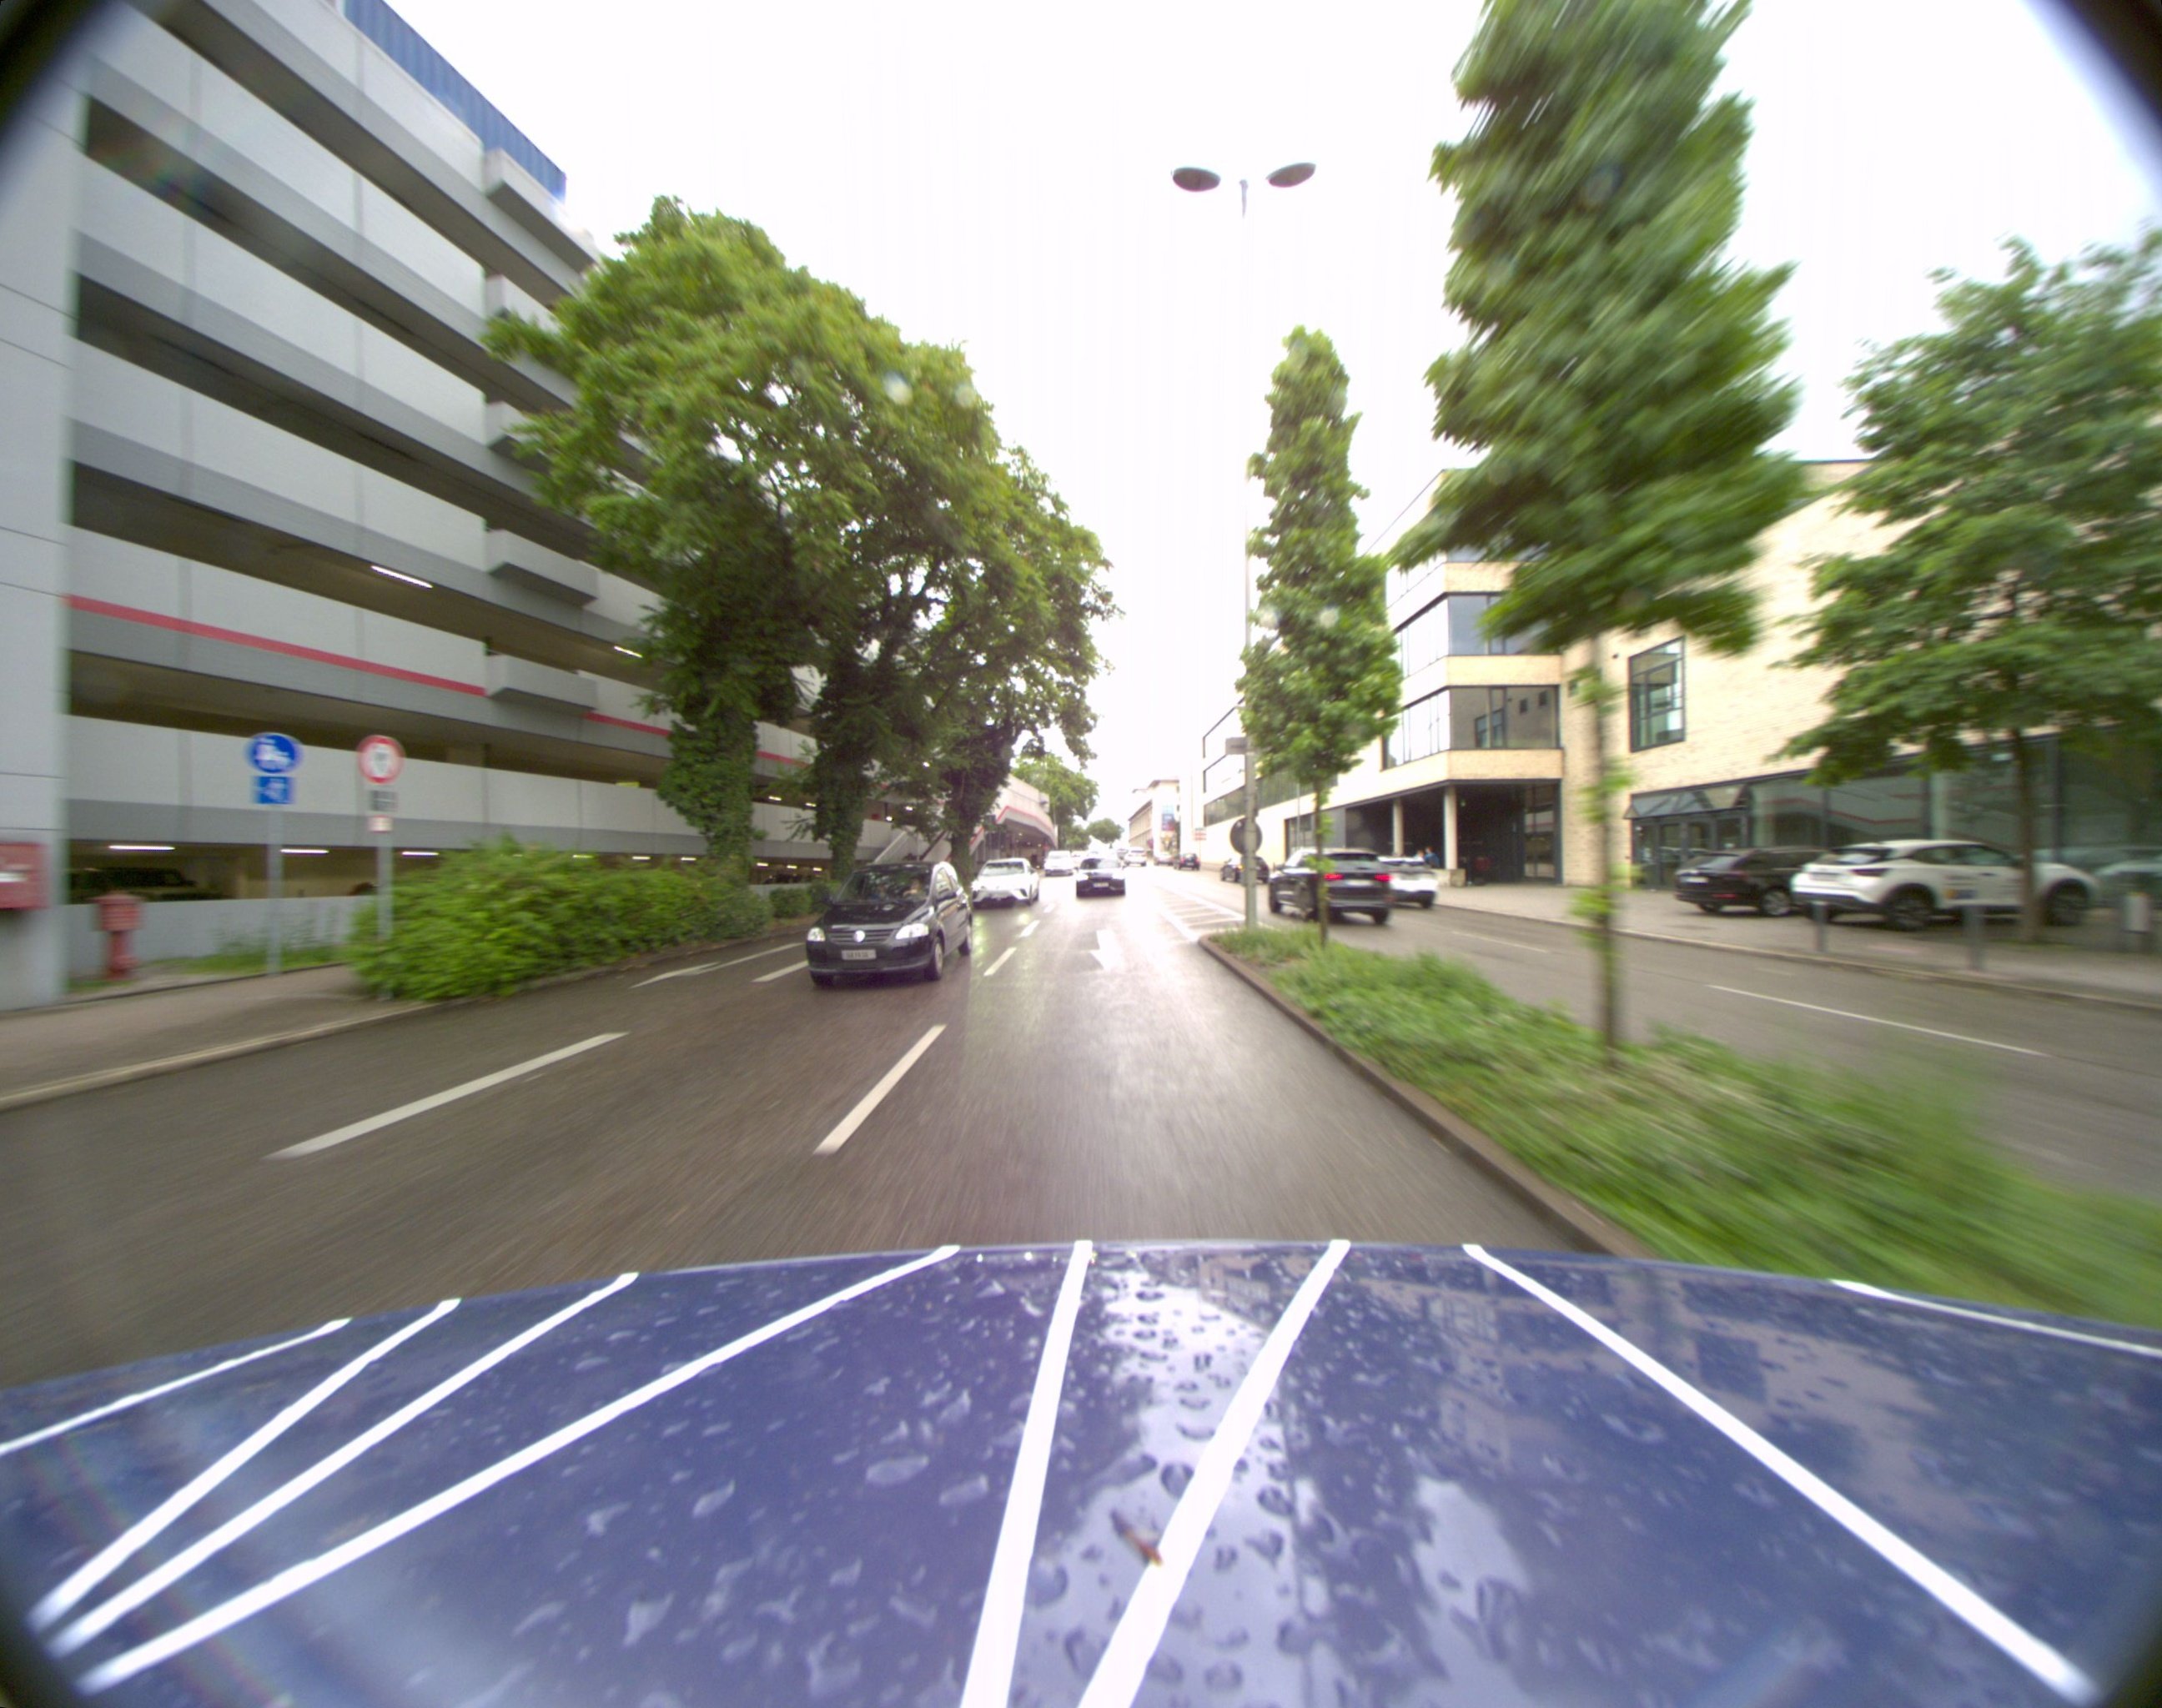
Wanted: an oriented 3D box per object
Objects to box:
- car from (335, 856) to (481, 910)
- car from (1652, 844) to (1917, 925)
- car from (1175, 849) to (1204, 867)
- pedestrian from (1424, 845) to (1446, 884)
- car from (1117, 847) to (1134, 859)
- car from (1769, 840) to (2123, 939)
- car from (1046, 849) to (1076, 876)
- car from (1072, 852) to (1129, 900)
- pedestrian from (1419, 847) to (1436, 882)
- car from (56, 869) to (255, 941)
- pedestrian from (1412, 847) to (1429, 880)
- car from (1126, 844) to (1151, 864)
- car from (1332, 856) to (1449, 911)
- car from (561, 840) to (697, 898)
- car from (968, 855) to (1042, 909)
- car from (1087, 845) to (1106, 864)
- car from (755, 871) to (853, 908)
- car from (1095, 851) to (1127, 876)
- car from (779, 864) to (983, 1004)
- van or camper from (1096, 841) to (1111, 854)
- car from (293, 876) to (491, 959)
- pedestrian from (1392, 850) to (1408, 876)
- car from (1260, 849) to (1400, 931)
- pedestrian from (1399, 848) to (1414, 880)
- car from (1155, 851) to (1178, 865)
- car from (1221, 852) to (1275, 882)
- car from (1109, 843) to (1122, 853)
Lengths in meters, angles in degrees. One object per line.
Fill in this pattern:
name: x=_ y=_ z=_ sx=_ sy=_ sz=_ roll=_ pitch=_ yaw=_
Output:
car: x=-23.489 y=0.996 z=26.551 sx=3.993 sy=1.772 sz=1.817 roll=-1 pitch=1 yaw=14
car: x=15.504 y=0.620 z=16.892 sx=4.188 sy=1.486 sz=1.999 roll=-3 pitch=1 yaw=-5
car: x=8.859 y=0.323 z=62.420 sx=1.750 sy=1.404 sz=3.970 roll=1 pitch=1 yaw=0
pedestrian: x=16.064 y=0.468 z=34.515 sx=0.636 sy=1.704 sz=0.705 roll=-3 pitch=2 yaw=1
car: x=5.772 y=-0.168 z=99.376 sx=1.816 sy=1.454 sz=4.287 roll=1 pitch=1 yaw=-1
car: x=15.909 y=0.615 z=14.196 sx=4.185 sy=1.538 sz=2.000 roll=-3 pitch=1 yaw=3
car: x=-1.303 y=0.558 z=51.350 sx=1.727 sy=1.628 sz=3.999 roll=-3 pitch=1 yaw=2
car: x=0.708 y=0.726 z=27.398 sx=1.852 sy=1.516 sz=3.990 roll=-3 pitch=0 yaw=2
pedestrian: x=15.095 y=0.445 z=33.117 sx=0.442 sy=1.467 sz=0.528 roll=-3 pitch=2 yaw=-3
car: x=-24.956 y=1.344 z=20.529 sx=3.993 sy=1.772 sz=1.817 roll=-1 pitch=1 yaw=14
pedestrian: x=15.143 y=0.414 z=33.895 sx=0.450 sy=1.467 sz=0.463 roll=-3 pitch=2 yaw=-3
car: x=5.562 y=-0.007 z=73.968 sx=1.896 sy=1.801 sz=4.573 roll=1 pitch=1 yaw=-1
car: x=9.257 y=0.820 z=23.124 sx=1.737 sy=1.460 sz=4.230 roll=1 pitch=0 yaw=-1
car: x=-14.557 y=0.472 z=24.557 sx=3.460 sy=1.772 sz=1.817 roll=-1 pitch=1 yaw=14
car: x=-2.387 y=0.860 z=24.931 sx=1.915 sy=1.443 sz=4.036 roll=-3 pitch=1 yaw=1
car: x=1.789 y=0.003 z=85.714 sx=1.998 sy=2.002 sz=3.999 roll=-3 pitch=1 yaw=1
car: x=-12.524 y=1.619 z=34.439 sx=3.740 sy=1.530 sz=1.812 roll=-2 pitch=-3 yaw=7
car: x=2.075 y=0.602 z=52.183 sx=1.998 sy=1.477 sz=4.000 roll=-3 pitch=1 yaw=3
car: x=-2.580 y=0.955 z=10.825 sx=1.683 sy=1.516 sz=3.990 roll=-3 pitch=0 yaw=2
van or camper: x=4.634 y=-1.420 z=156.442 sx=2.108 sy=2.567 sz=5.903 roll=1 pitch=1 yaw=-7
car: x=-16.338 y=1.458 z=18.076 sx=3.460 sy=1.772 sz=1.817 roll=-1 pitch=1 yaw=14
pedestrian: x=15.077 y=0.428 z=35.955 sx=0.550 sy=1.208 sz=0.422 roll=-2 pitch=2 yaw=4
car: x=5.528 y=0.707 z=17.464 sx=1.737 sy=1.616 sz=4.230 roll=1 pitch=0 yaw=-1
pedestrian: x=15.039 y=0.452 z=35.078 sx=0.450 sy=1.467 sz=0.463 roll=-3 pitch=2 yaw=-3
car: x=8.815 y=0.396 z=78.623 sx=1.834 sy=1.380 sz=4.229 roll=1 pitch=1 yaw=0
car: x=8.511 y=0.646 z=39.113 sx=1.737 sy=1.386 sz=4.198 roll=1 pitch=1 yaw=-1
car: x=5.569 y=-0.965 z=122.945 sx=1.888 sy=1.489 sz=4.561 roll=1 pitch=1 yaw=-1
